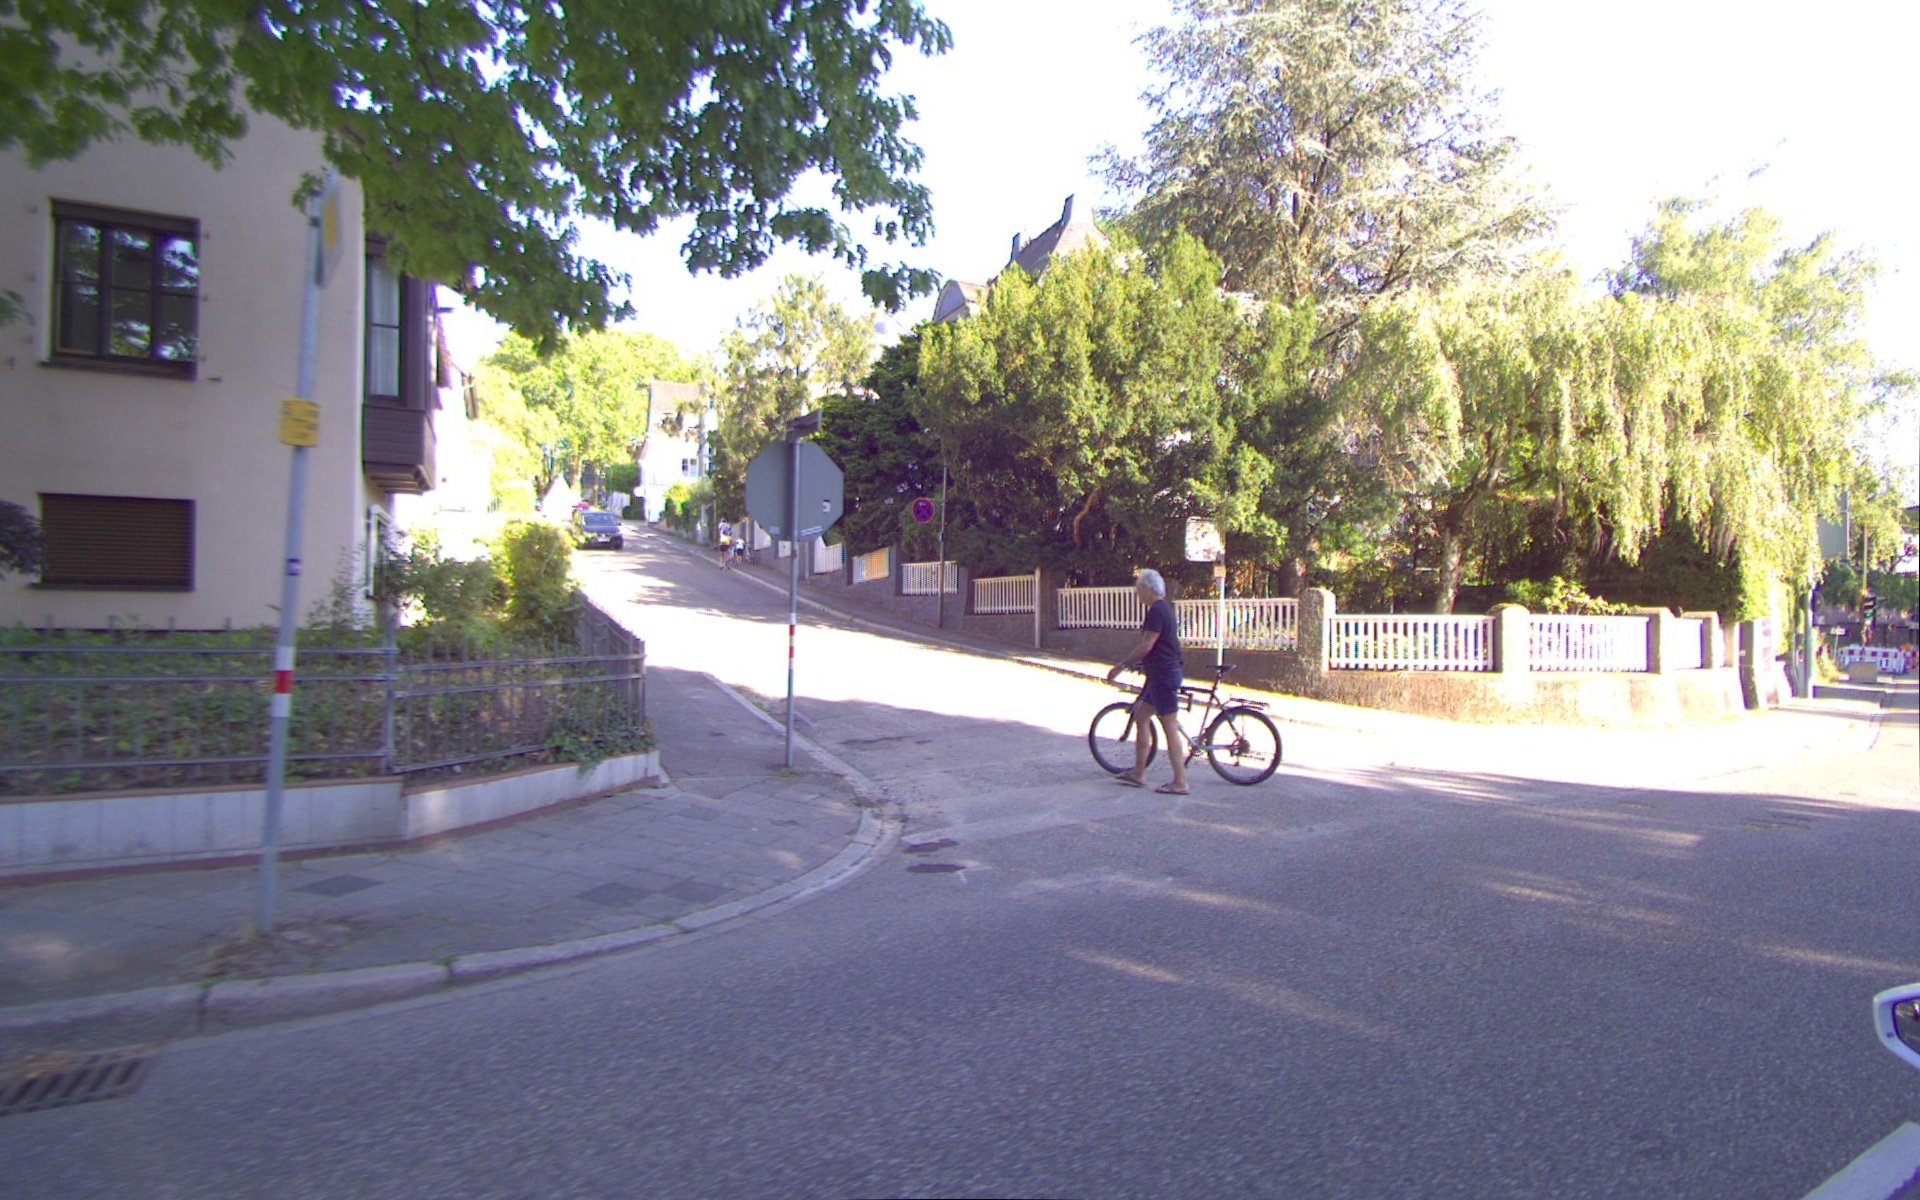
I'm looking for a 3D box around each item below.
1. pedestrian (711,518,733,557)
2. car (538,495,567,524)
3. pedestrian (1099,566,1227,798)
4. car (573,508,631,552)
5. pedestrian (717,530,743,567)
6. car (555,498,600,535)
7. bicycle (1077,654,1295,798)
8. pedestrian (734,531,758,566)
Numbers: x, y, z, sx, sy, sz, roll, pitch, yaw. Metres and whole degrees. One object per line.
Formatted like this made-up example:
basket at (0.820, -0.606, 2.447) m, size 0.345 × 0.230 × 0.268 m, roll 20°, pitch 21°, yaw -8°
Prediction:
pedestrian at (-10.713, -2.807, 45.238) m, size 0.767 × 1.664 × 0.687 m, roll 2°, pitch 1°, yaw -30°
car at (-33.674, -7.457, 82.975) m, size 1.973 × 2.040 × 3.974 m, roll 2°, pitch 0°, yaw -25°
pedestrian at (1.718, 0.645, 8.489) m, size 0.925 × 1.851 × 0.554 m, roll 2°, pitch 3°, yaw 24°
car at (-16.431, -3.149, 46.007) m, size 1.975 × 1.728 × 3.971 m, roll 2°, pitch 1°, yaw -27°
pedestrian at (-9.043, -2.004, 39.486) m, size 0.562 × 1.389 × 0.769 m, roll 3°, pitch 1°, yaw 43°
car at (-21.576, -4.676, 56.581) m, size 1.974 × 1.728 × 3.972 m, roll 2°, pitch 1°, yaw -27°
bicycle at (1.990, 1.073, 8.921) m, size 1.783 × 1.057 × 0.561 m, roll 2°, pitch 2°, yaw 25°
pedestrian at (-8.743, -2.091, 41.015) m, size 0.764 × 1.389 × 0.566 m, roll 2°, pitch 1°, yaw -29°
